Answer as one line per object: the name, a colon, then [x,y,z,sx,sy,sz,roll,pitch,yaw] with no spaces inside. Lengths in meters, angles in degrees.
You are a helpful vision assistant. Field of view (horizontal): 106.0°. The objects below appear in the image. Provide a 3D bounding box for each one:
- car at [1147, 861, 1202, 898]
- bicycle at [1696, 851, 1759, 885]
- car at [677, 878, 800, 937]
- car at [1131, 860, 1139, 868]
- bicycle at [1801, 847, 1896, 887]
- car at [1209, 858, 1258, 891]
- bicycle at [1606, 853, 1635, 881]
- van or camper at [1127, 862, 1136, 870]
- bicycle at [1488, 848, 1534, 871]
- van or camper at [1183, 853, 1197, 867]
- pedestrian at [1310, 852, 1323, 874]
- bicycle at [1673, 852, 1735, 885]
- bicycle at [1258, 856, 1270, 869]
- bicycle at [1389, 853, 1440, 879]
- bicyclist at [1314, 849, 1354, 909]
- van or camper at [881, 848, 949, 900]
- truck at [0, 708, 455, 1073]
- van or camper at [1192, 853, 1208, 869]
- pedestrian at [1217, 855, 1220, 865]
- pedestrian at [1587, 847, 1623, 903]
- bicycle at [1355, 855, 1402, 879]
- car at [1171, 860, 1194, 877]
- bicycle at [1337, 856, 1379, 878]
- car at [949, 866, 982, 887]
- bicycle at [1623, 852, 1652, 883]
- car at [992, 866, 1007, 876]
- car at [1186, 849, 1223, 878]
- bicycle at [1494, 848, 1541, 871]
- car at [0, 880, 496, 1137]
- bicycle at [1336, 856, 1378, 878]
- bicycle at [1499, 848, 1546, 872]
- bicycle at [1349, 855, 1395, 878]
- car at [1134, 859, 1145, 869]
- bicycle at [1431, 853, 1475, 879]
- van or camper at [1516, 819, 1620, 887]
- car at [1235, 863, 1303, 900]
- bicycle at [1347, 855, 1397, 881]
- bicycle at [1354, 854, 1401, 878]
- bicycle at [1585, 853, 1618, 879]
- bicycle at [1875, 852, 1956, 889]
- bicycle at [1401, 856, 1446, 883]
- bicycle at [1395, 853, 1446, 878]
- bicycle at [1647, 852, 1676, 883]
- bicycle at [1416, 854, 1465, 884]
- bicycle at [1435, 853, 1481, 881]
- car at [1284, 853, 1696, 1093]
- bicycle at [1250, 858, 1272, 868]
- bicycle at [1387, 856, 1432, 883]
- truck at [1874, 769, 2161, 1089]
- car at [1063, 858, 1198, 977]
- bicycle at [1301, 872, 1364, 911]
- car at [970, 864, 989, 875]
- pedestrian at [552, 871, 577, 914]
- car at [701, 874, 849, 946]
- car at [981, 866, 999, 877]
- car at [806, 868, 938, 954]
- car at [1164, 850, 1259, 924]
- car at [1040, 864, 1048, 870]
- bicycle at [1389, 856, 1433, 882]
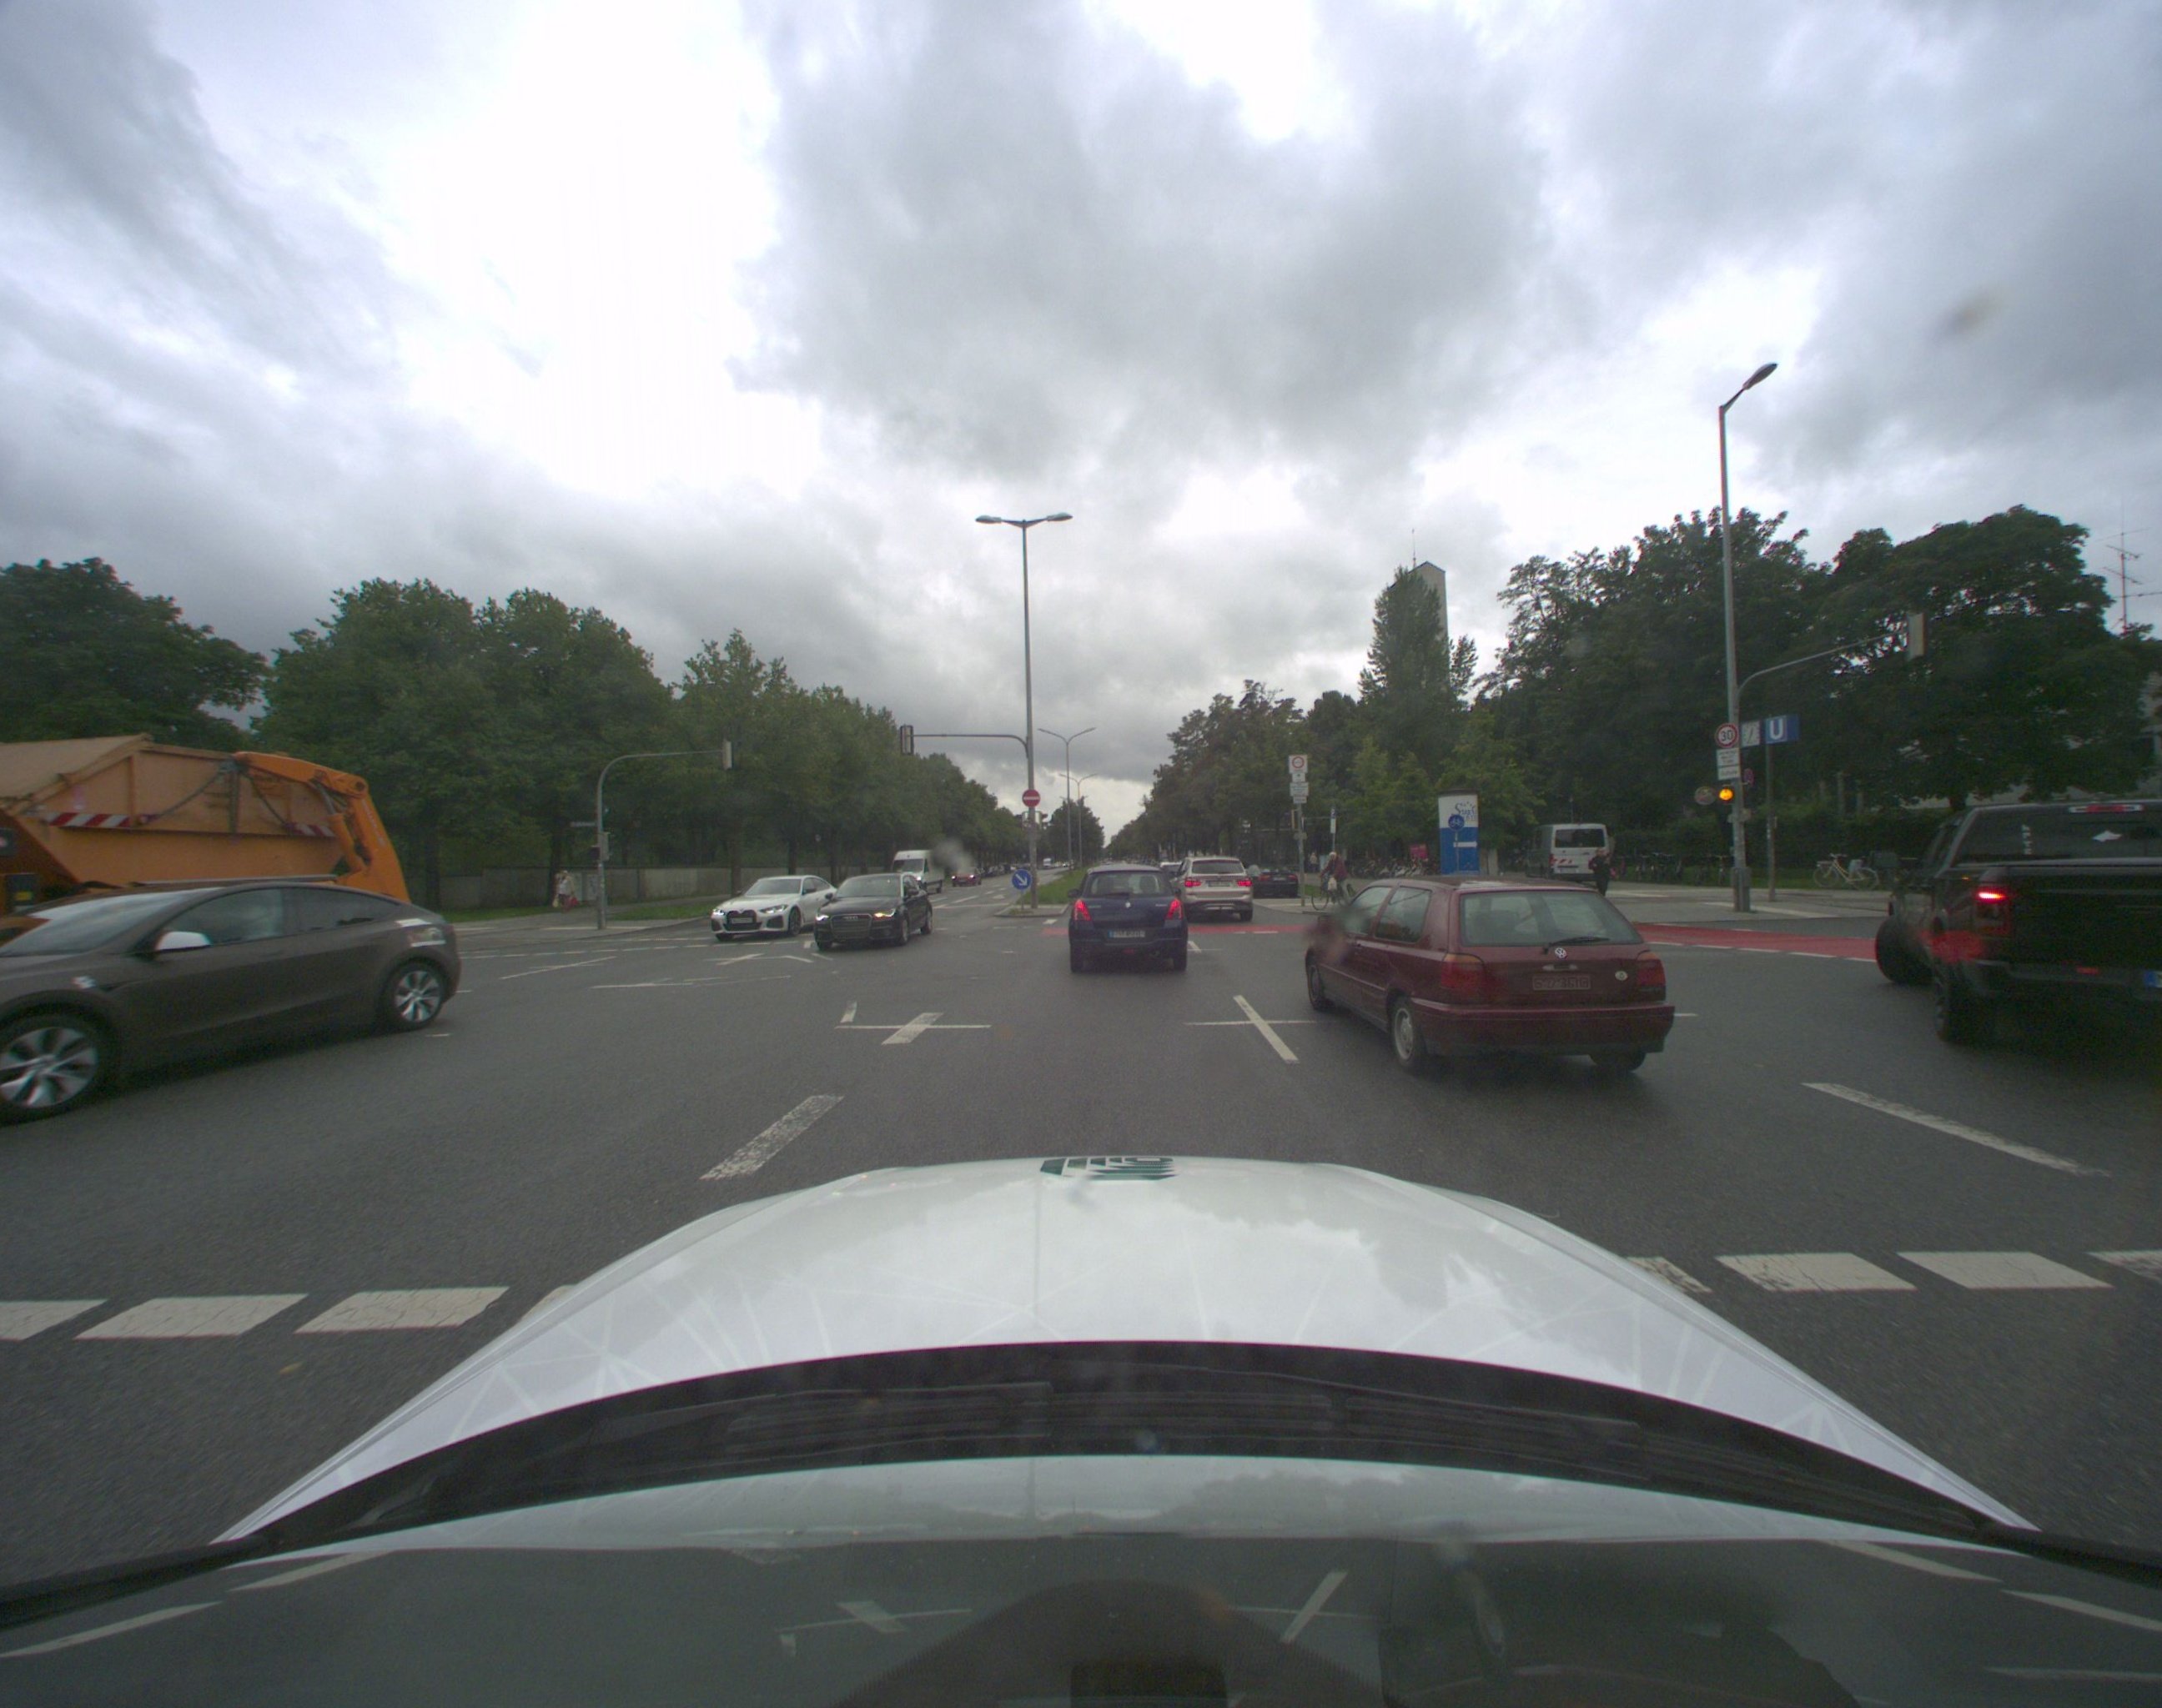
car: [3.976,1.059,35.243,1.844,1.447,4.097,-2,-1,0]
bicycle: [23.561,0.503,29.745,0.693,1.153,2.131,-2,-1,4]
car: [-10.141,1.531,24.489,1.717,1.416,4.217,-4,-1,2]
car: [11.334,2.104,171.160,1.677,1.525,4.458,0,-1,2]
bicycle: [24.774,0.423,26.346,0.704,1.251,2.097,-1,-1,-24]
car: [7.739,1.013,41.690,1.707,1.547,4.381,-2,-1,0]
bicycle: [22.985,0.550,34.711,0.709,1.153,2.142,-2,-1,41]
van or camper: [12.354,2.865,198.567,1.937,1.975,4.308,-2,-1,2]
bicycle: [25.097,0.320,47.499,2.330,1.157,0.529,-4,-1,0]
van or camper: [20.672,1.184,155.003,2.016,2.558,5.959,-2,-1,2]
pedestrian: [16.881,0.660,58.501,0.580,1.513,0.690,-1,-1,-17]
bicycle: [22.738,0.513,29.761,0.713,1.153,2.131,-2,-1,4]
bicycle: [18.804,0.857,83.757,0.643,1.280,2.551,-2,-1,2]
bicycle: [17.166,0.625,41.900,2.330,1.157,0.585,-4,-1,1]
bicyclist: [7.671,0.748,24.684,0.831,1.764,0.738,-1,-1,-34]
van or camper: [-9.432,1.081,46.991,2.170,2.647,6.952,-4,-1,1]
truck: [-11.273,0.381,9.073,2.770,3.356,7.268,-1,-1,2]
van or camper: [20.167,1.202,137.972,1.986,2.558,5.959,-2,-1,2]
pedestrian: [24.743,1.129,146.560,0.572,1.751,0.733,-2,-1,6]
pedestrian: [14.891,0.585,23.149,0.684,1.538,0.741,-2,-1,21]
bicycle: [16.364,0.692,44.824,2.330,1.157,0.529,-4,-1,0]
car: [9.583,1.364,77.370,1.711,1.508,4.225,-2,-1,2]
bicycle: [16.453,0.753,48.420,2.336,1.157,0.528,-4,-1,-8]
car: [-9.035,1.716,64.232,1.737,1.452,4.659,-4,0,1]
bicycle: [22.572,0.540,33.016,0.709,1.153,2.142,-2,-1,41]
car: [-12.439,2.588,124.201,1.629,1.439,4.812,-1,0,3]
car: [7.878,0.594,52.270,1.741,1.724,4.908,-1,0,2]
bicycle: [25.131,0.314,46.863,2.330,1.157,0.529,-4,-1,0]
car: [-7.779,1.082,7.045,1.855,1.542,4.751,-2,-1,2]
bicycle: [16.716,0.757,49.330,2.330,1.157,0.529,-4,-1,0]
bicycle: [24.857,0.331,45.862,2.330,1.157,0.529,-4,-1,0]
bicycle: [16.418,0.691,45.924,2.330,1.157,0.529,-4,-1,0]
car: [10.238,1.757,142.419,1.758,1.651,4.425,-1,-1,1]
bicycle: [17.864,0.590,39.139,1.799,1.142,0.567,-3,-1,1]
van or camper: [18.499,-0.016,31.266,2.124,2.296,6.229,-2,-1,19]
car: [7.607,1.081,33.393,1.705,1.360,4.620,-1,-1,0]
bicycle: [15.339,0.740,42.960,2.330,1.157,0.585,-4,-1,1]
bicycle: [16.520,0.679,45.373,2.330,1.157,0.529,-4,-1,0]
bicycle: [24.499,0.561,38.333,2.140,1.153,0.710,-1,-1,-42]
bicycle: [25.888,0.504,25.314,0.604,1.095,2.120,-2,-1,9]
bicycle: [15.487,0.699,36.786,1.806,1.142,0.565,-3,-1,-10]
bicycle: [17.720,0.607,42.543,2.330,1.157,0.585,-4,-1,1]
bicycle: [23.145,0.531,32.463,0.709,1.153,2.142,-2,-1,41]
bicycle: [15.993,0.646,36.201,1.939,1.212,0.565,-3,-1,-10]
bicycle: [17.302,0.588,37.402,1.797,1.142,0.568,-3,-1,6]
car: [3.054,0.762,7.080,1.616,1.454,3.950,-2,-1,1]
bicycle: [21.554,1.035,97.581,2.533,1.089,0.647,-2,-1,1]
bicycle: [15.386,0.711,38.187,1.795,1.142,0.569,-4,-1,10]
truck: [8.774,0.428,7.266,2.079,2.014,5.848,-3,-1,41]
car: [0.674,0.879,13.021,1.783,1.556,3.999,-2,-1,0]
bicycle: [7.616,1.107,24.635,1.955,1.081,0.740,-1,-1,-34]
car: [-12.966,1.955,104.067,1.653,1.396,4.708,-1,0,2]
pedestrian: [-21.412,1.577,33.764,0.706,1.740,0.516,-2,-1,-4]
car: [-7.489,1.301,20.492,1.720,1.487,4.745,-2,-1,2]
car: [-12.547,2.384,112.123,1.563,1.503,4.310,-1,0,5]
car: [-4.120,1.063,16.641,1.634,1.487,3.781,-2,-1,0]
car: [3.385,0.817,21.787,1.844,1.743,4.097,-2,-1,0]
car: [-9.251,3.277,203.401,1.907,1.542,4.187,-2,-1,0]
bicycle: [15.906,0.707,39.269,1.797,1.142,0.568,-3,-1,6]
